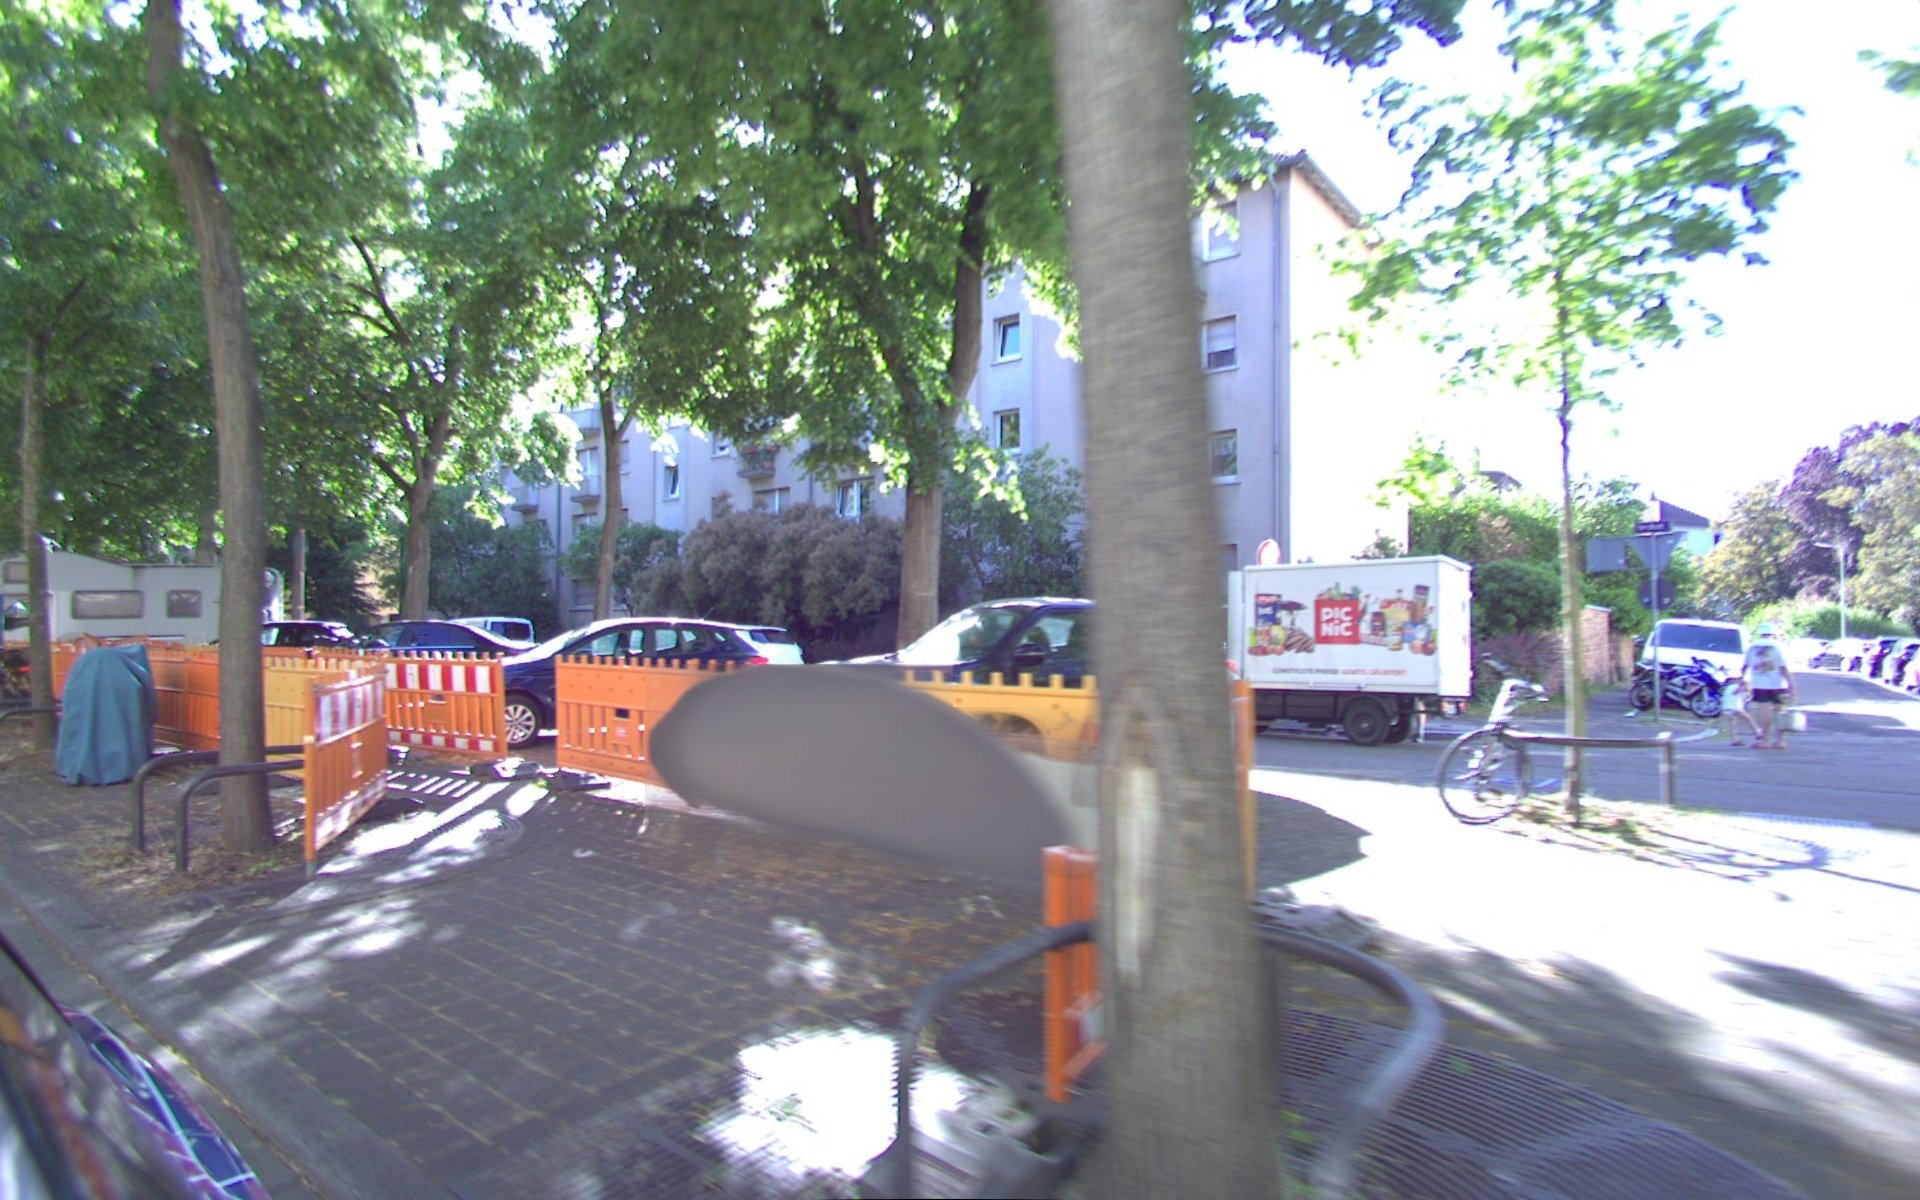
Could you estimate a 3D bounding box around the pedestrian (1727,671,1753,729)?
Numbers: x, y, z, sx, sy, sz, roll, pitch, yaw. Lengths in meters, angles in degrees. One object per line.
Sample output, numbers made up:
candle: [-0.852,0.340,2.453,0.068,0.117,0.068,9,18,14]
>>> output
pedestrian: [11.413,1.467,14.811,0.219,0.820,0.193,4,-1,-26]

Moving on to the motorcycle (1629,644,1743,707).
motorcycle: [14.225,1.459,19.892,0.471,1.145,1.816,1,-2,-24]

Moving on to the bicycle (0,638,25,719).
bicycle: [-14.338,1.153,15.223,1.551,1.164,0.277,-2,-3,44]

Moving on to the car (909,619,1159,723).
car: [1.198,1.147,17.578,4.190,1.586,1.604,-1,-1,40]

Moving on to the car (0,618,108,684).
car: [-24.508,1.284,25.784,3.930,1.629,1.803,1,-2,-26]

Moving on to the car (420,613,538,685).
car: [-14.545,1.427,30.529,4.264,2.029,1.604,-1,-1,40]

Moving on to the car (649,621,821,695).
car: [-5.222,1.275,23.244,4.109,1.571,1.702,-1,-2,39]

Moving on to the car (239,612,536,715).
car: [-9.117,0.999,16.481,3.931,1.530,1.676,1,-2,-18]

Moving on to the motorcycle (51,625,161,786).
motorcycle: [-8.134,0.923,9.706,0.622,1.334,2.234,-1,0,-36]

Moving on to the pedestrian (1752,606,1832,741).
pedestrian: [11.645,1.005,14.171,0.573,1.837,0.672,1,-2,-30]

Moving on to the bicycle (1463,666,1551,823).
bicycle: [4.008,0.993,7.374,0.283,0.988,1.608,-1,-3,38]

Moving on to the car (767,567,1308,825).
car: [0.682,0.677,8.157,4.062,1.638,1.703,1,-2,-28]

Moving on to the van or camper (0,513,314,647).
van or camper: [-19.658,-0.368,24.921,5.928,3.025,2.407,1,-2,-23]

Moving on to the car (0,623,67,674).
car: [-29.747,1.433,30.080,4.446,1.495,1.743,1,-2,-21]

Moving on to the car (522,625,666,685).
car: [-9.650,1.396,26.581,4.122,1.454,1.702,-1,-2,39]

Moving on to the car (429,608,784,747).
car: [-4.267,0.870,12.381,3.846,1.472,1.582,1,-2,-31]

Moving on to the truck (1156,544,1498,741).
truck: [5.181,0.593,14.628,4.261,2.428,1.902,-2,-3,41]

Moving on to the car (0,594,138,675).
car: [-30.688,1.098,32.607,6.094,2.530,2.145,1,-2,-24]

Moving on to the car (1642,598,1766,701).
car: [16.397,1.093,22.411,1.996,2.041,4.308,-1,-3,36]

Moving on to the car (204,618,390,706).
car: [-13.620,1.248,20.965,2.941,1.730,1.426,1,-2,-19]

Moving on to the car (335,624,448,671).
car: [-19.300,1.581,34.305,3.996,1.497,1.974,-2,-3,39]
